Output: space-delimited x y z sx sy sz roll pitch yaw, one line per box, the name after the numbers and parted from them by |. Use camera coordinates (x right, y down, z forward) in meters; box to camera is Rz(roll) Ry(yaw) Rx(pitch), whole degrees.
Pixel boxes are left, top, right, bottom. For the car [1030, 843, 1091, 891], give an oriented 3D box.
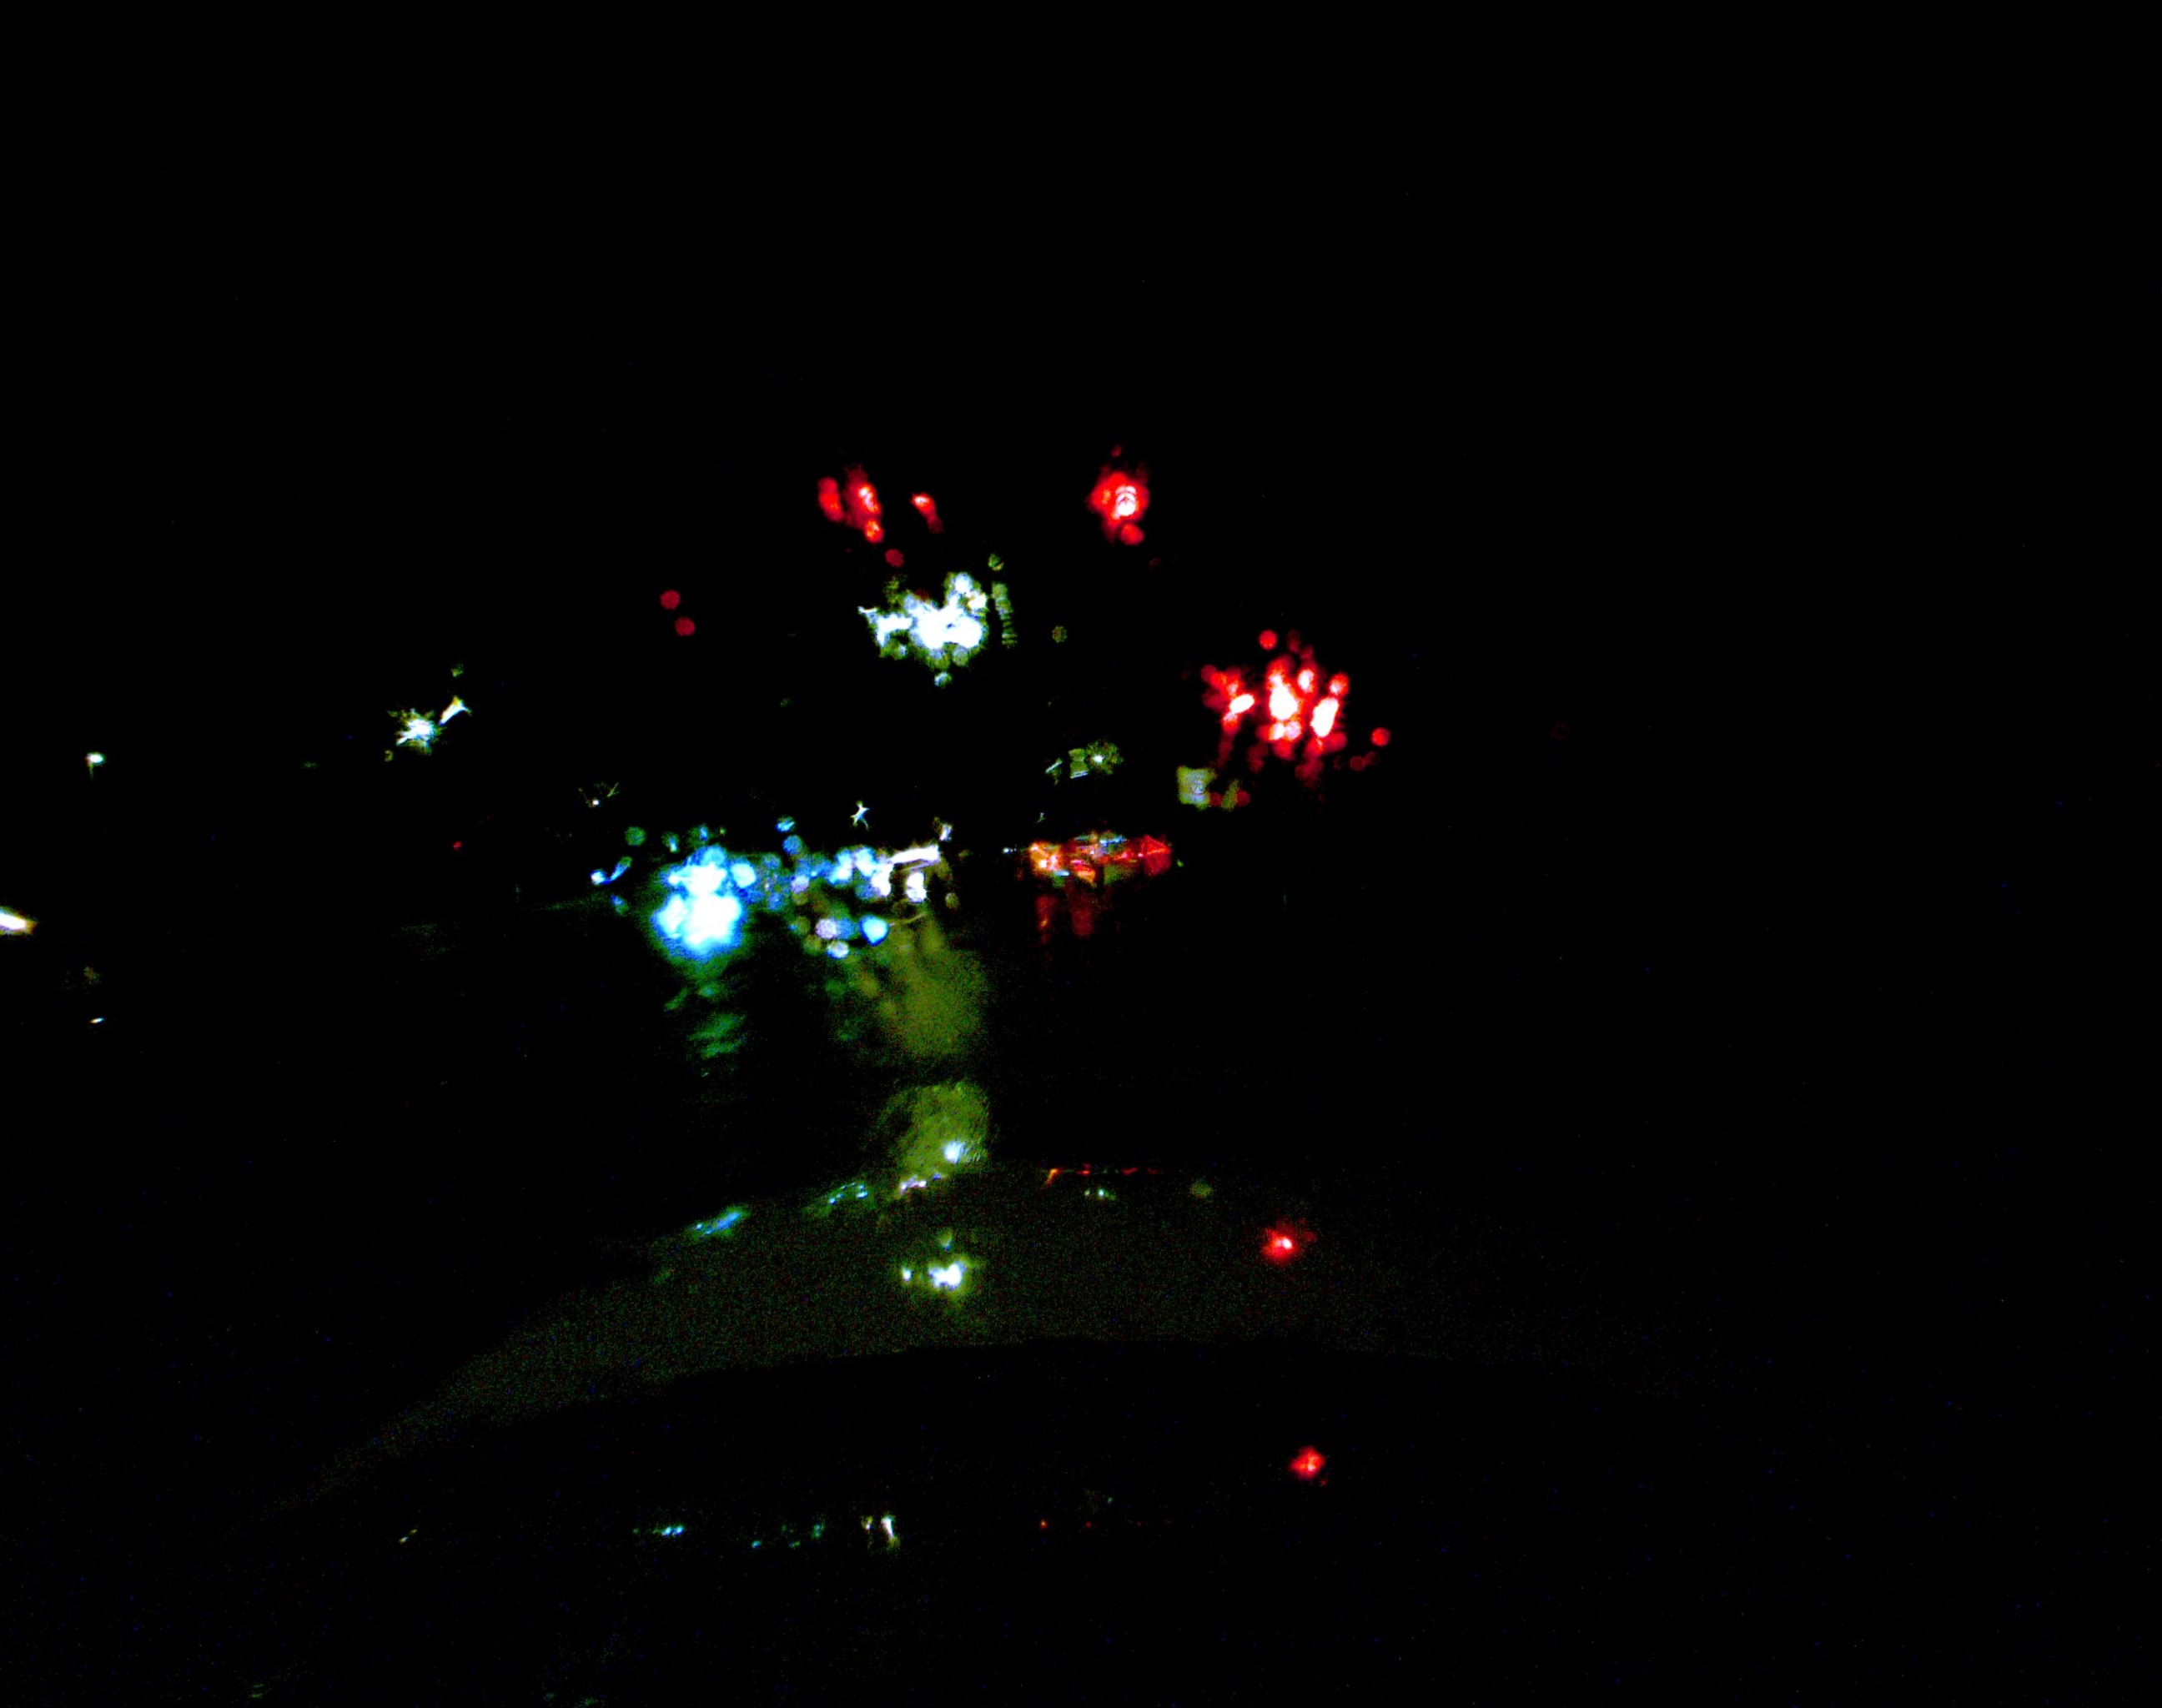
-0.691 0.465 30.284 1.986 1.610 4.104 -1 -1 2 | car

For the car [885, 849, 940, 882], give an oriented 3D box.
-8.213 0.559 40.040 1.577 1.526 3.658 -1 -1 6 | car

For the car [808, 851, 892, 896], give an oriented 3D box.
-8.985 0.706 32.115 1.691 1.571 4.716 -1 0 3 | car

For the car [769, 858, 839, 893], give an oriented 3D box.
-12.452 0.948 36.831 1.661 1.454 3.730 -1 -1 3 | car

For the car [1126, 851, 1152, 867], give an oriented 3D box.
4.895 0.437 69.331 2.098 1.339 4.296 -1 -1 2 | car

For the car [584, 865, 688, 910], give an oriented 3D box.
-20.440 1.497 37.469 4.017 1.831 1.703 -2 1 -35 | car

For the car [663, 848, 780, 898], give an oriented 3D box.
-12.616 0.610 29.008 1.785 1.571 4.917 -1 0 2 | car

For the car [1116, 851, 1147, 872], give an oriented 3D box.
3.645 0.534 59.250 2.094 1.439 4.002 -1 -1 2 | car

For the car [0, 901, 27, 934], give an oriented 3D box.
-50.898 3.030 37.226 1.664 1.498 4.333 -4 0 -29 | car
